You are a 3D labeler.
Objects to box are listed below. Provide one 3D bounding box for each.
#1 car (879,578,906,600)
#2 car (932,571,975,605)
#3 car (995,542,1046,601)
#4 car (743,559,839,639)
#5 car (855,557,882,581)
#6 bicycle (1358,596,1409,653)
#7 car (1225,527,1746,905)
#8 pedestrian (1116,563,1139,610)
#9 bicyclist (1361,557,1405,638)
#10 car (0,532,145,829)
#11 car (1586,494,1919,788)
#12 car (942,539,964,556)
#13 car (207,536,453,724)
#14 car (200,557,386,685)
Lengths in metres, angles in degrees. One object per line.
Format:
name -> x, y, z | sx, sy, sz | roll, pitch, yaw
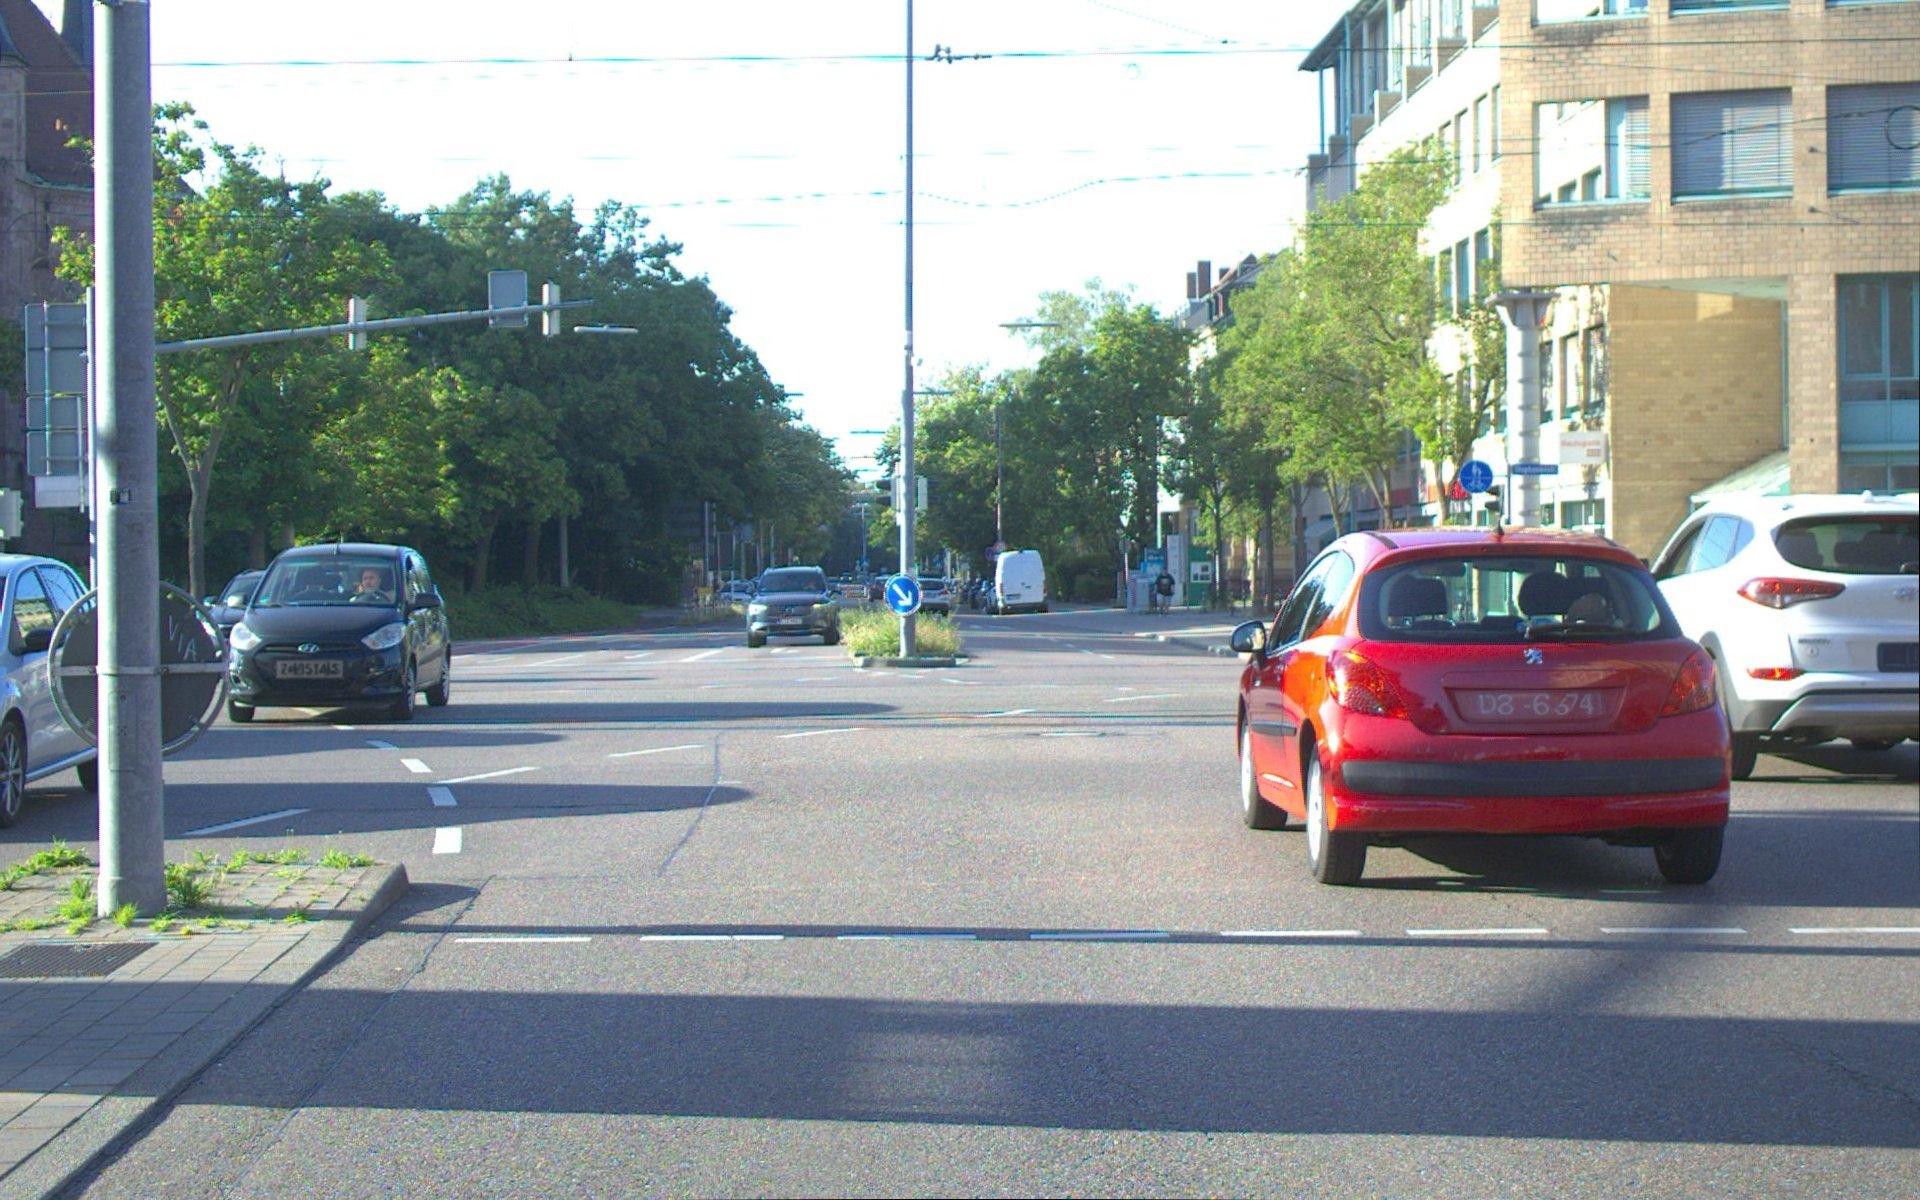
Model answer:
car -> -4.084, -0.665, 208.997 | 1.594, 1.263, 3.266 | 0, 1, 0
car -> -0.253, -0.464, 131.469 | 1.594, 1.263, 3.266 | 0, 1, 0
car -> 2.542, -1.190, 144.530 | 1.993, 2.432, 4.000 | 1, 0, 0
car -> -3.741, -0.002, 76.889 | 1.993, 1.718, 5.031 | -1, 0, -1
car -> -6.669, -2.265, 251.112 | 1.886, 1.665, 4.000 | 1, 1, 0
bicycle -> 7.212, 0.408, 58.580 | 0.592, 0.940, 1.978 | 1, 0, -1
car -> 2.215, 0.436, 15.484 | 1.670, 1.457, 4.000 | 1, 1, -1
pedestrian -> 6.372, -0.521, 130.848 | 0.847, 1.797, 0.776 | 0, 1, -1
bicyclist -> 7.206, -0.041, 58.583 | 0.592, 1.364, 0.930 | 1, 0, 0
car -> -5.875, 0.416, 19.330 | 1.675, 1.539, 3.806 | -2, 1, -1
car -> 5.215, 0.215, 21.037 | 1.916, 1.602, 4.270 | 1, 1, -1
car -> -0.518, -3.889, 255.065 | 1.594, 1.263, 3.266 | 0, 1, 0
car -> -5.625, 0.221, 31.048 | 1.578, 1.539, 3.477 | -2, 1, -1
car -> -9.026, 0.249, 46.830 | 1.794, 1.560, 4.148 | -1, 2, -1
